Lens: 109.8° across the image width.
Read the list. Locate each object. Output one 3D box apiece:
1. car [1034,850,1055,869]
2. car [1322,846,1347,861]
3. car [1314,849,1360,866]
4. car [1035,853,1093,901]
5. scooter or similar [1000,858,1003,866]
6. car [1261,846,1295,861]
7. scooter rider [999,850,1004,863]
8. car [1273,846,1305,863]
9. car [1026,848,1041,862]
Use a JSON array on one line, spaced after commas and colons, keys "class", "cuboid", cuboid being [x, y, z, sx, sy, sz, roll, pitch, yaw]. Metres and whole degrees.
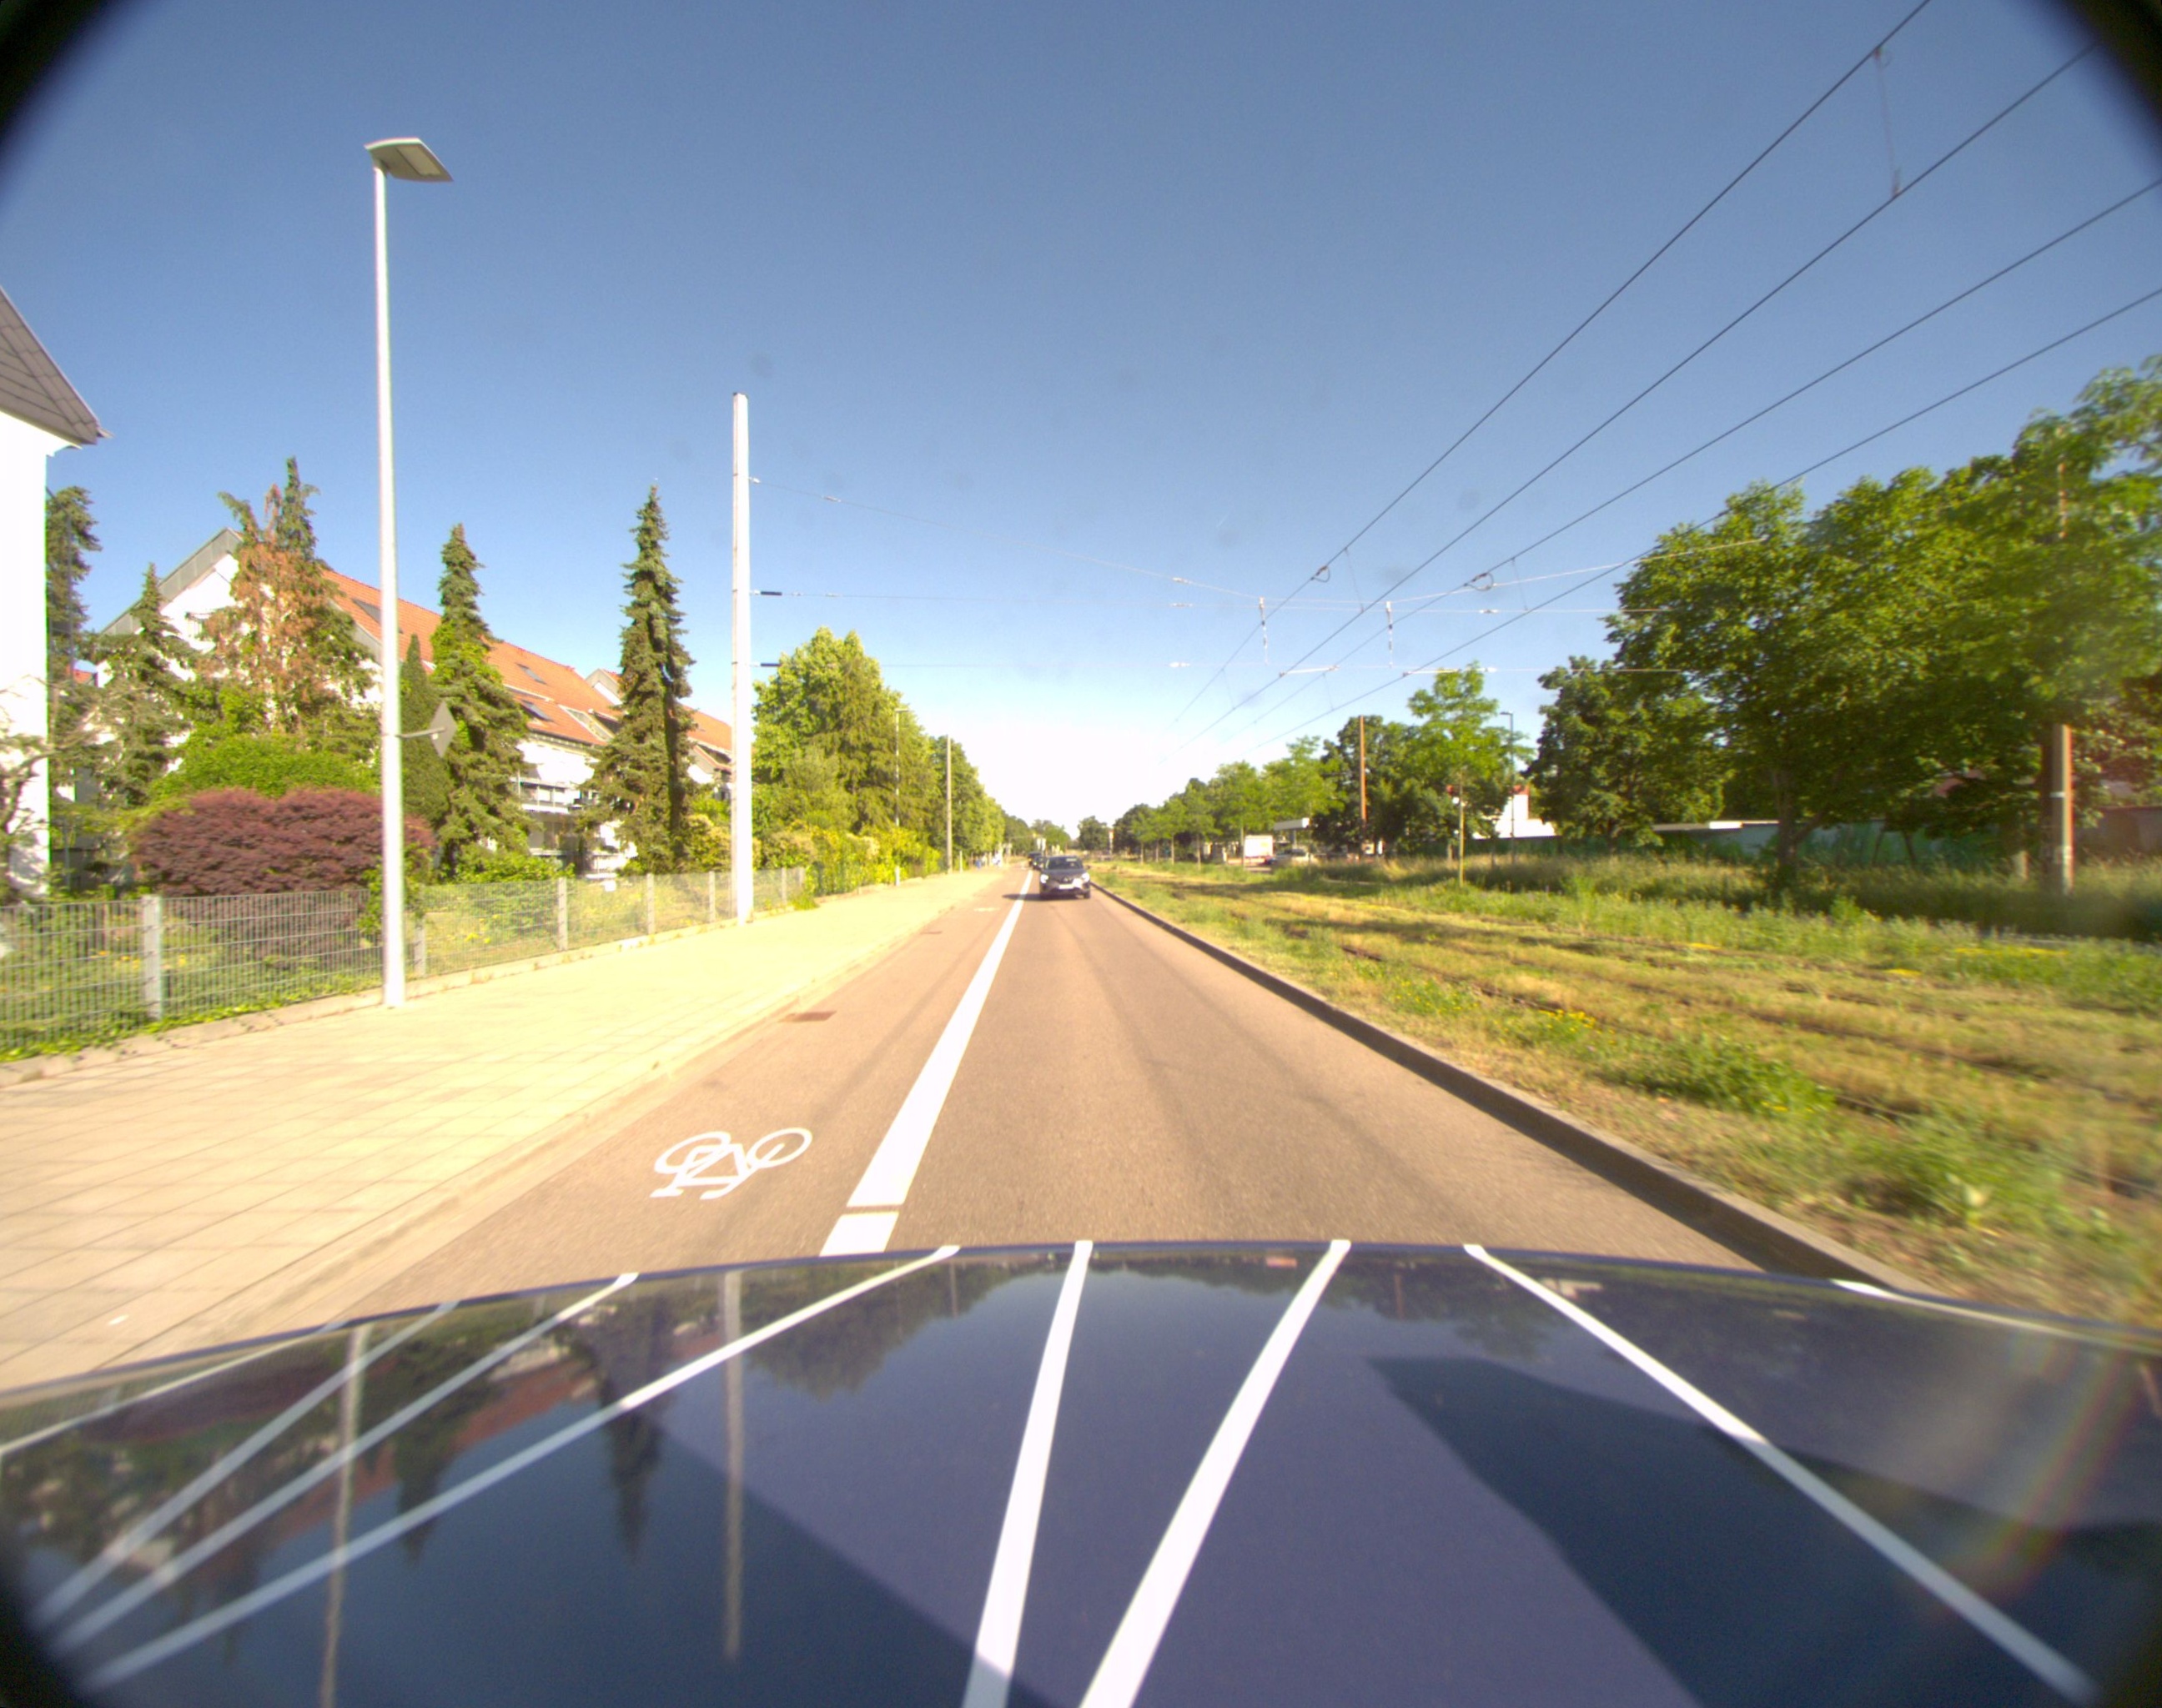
[{"class": "car", "cuboid": [-3.817, 0.584, 79.521, 1.999, 1.824, 3.998, -2, 1, -2]}, {"class": "car", "cuboid": [28.020, -0.123, 83.883, 2.022, 1.499, 4.896, 0, 2, 25]}, {"class": "car", "cuboid": [23.878, 0.301, 70.814, 3.712, 1.503, 1.640, 0, 1, -7]}, {"class": "car", "cuboid": [-0.704, 0.795, 28.293, 1.868, 1.614, 3.998, -2, 0, -4]}, {"class": "scooter or similar", "cuboid": [-10.632, 1.047, 101.400, 0.349, 1.130, 1.208, 0, 1, -4]}, {"class": "car", "cuboid": [26.091, -0.048, 100.696, 3.997, 1.846, 2.000, -3, 0, 0]}, {"class": "scooter rider", "cuboid": [-10.615, 0.311, 101.308, 0.552, 1.757, 0.598, -2, 1, -4]}, {"class": "car", "cuboid": [23.939, 0.055, 87.420, 1.893, 1.899, 4.820, -1, 0, 37]}, {"class": "car", "cuboid": [-6.958, 0.126, 112.301, 1.999, 1.824, 3.998, -2, 1, -2]}]
